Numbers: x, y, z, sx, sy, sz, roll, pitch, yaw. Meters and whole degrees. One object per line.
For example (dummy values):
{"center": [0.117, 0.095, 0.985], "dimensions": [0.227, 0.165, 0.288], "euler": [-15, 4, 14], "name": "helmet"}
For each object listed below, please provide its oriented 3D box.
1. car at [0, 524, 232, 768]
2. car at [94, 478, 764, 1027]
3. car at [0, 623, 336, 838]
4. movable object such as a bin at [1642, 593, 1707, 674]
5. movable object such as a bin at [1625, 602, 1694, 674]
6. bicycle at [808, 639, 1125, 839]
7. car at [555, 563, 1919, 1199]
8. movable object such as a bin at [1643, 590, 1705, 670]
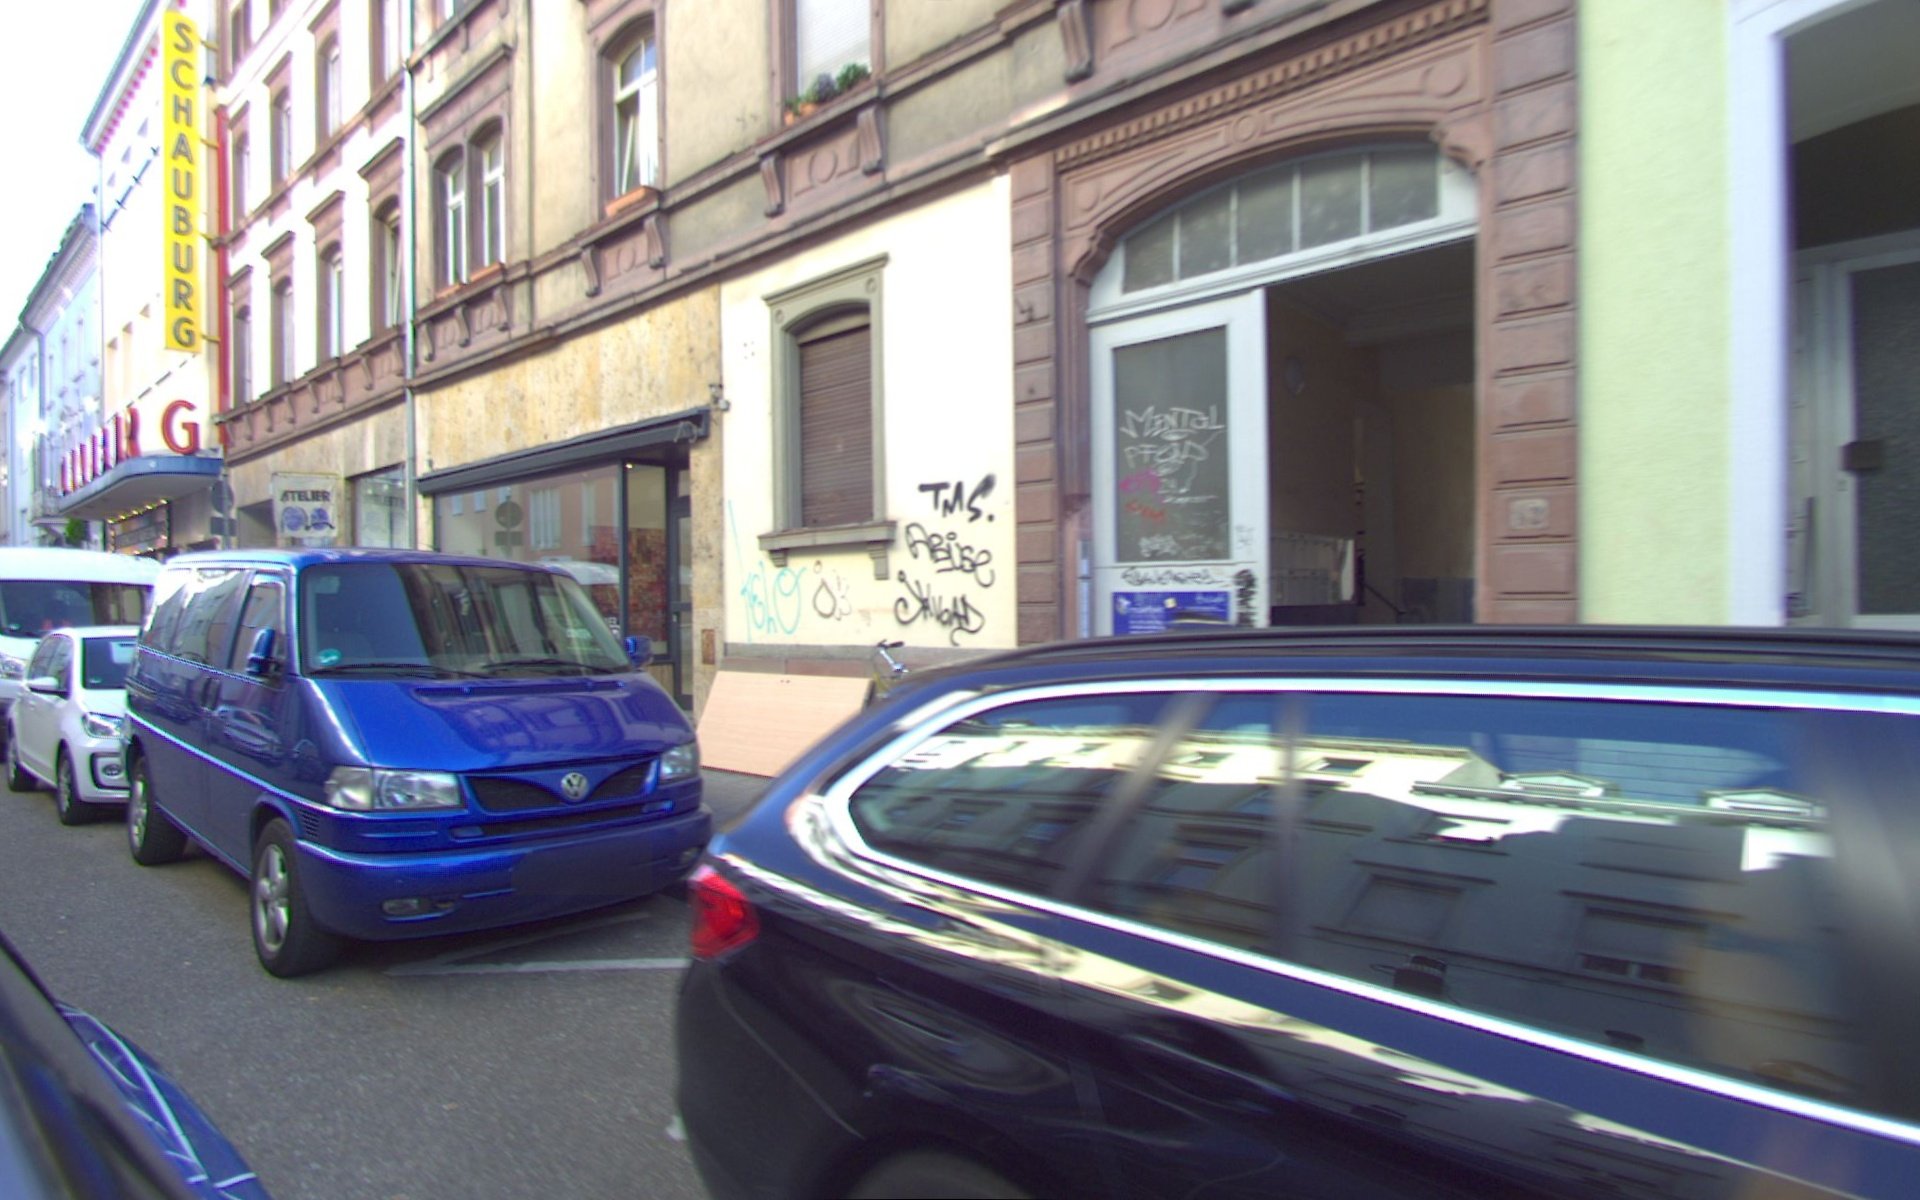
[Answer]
{"center": [-11.417, 0.548, 12.825], "dimensions": [5.917, 2.471, 2.146], "euler": [-2, -2, 40], "name": "car"}
{"center": [-3.284, 0.609, 5.754], "dimensions": [4.612, 1.906, 1.808], "euler": [-2, -4, 42], "name": "car"}
{"center": [-7.055, 0.953, 8.828], "dimensions": [3.836, 1.458, 1.629], "euler": [-2, -1, 40], "name": "car"}
{"center": [10.143, 0.468, 14.358], "dimensions": [0.668, 1.096, 0.708], "euler": [-2, 0, 41], "name": "movable object such as a bin"}
{"center": [9.322, 0.500, 13.491], "dimensions": [0.668, 0.902, 0.708], "euler": [-2, 0, 41], "name": "movable object such as a bin"}
{"center": [-0.020, 0.808, 6.556], "dimensions": [2.029, 1.028, 0.747], "euler": [-2, 3, 43], "name": "bicycle"}
{"center": [1.524, 0.696, 1.350], "dimensions": [4.640, 1.451, 1.843], "euler": [-2, -2, 39], "name": "car"}
{"center": [10.784, 0.441, 15.280], "dimensions": [0.668, 1.165, 0.708], "euler": [-2, 0, 41], "name": "movable object such as a bin"}
